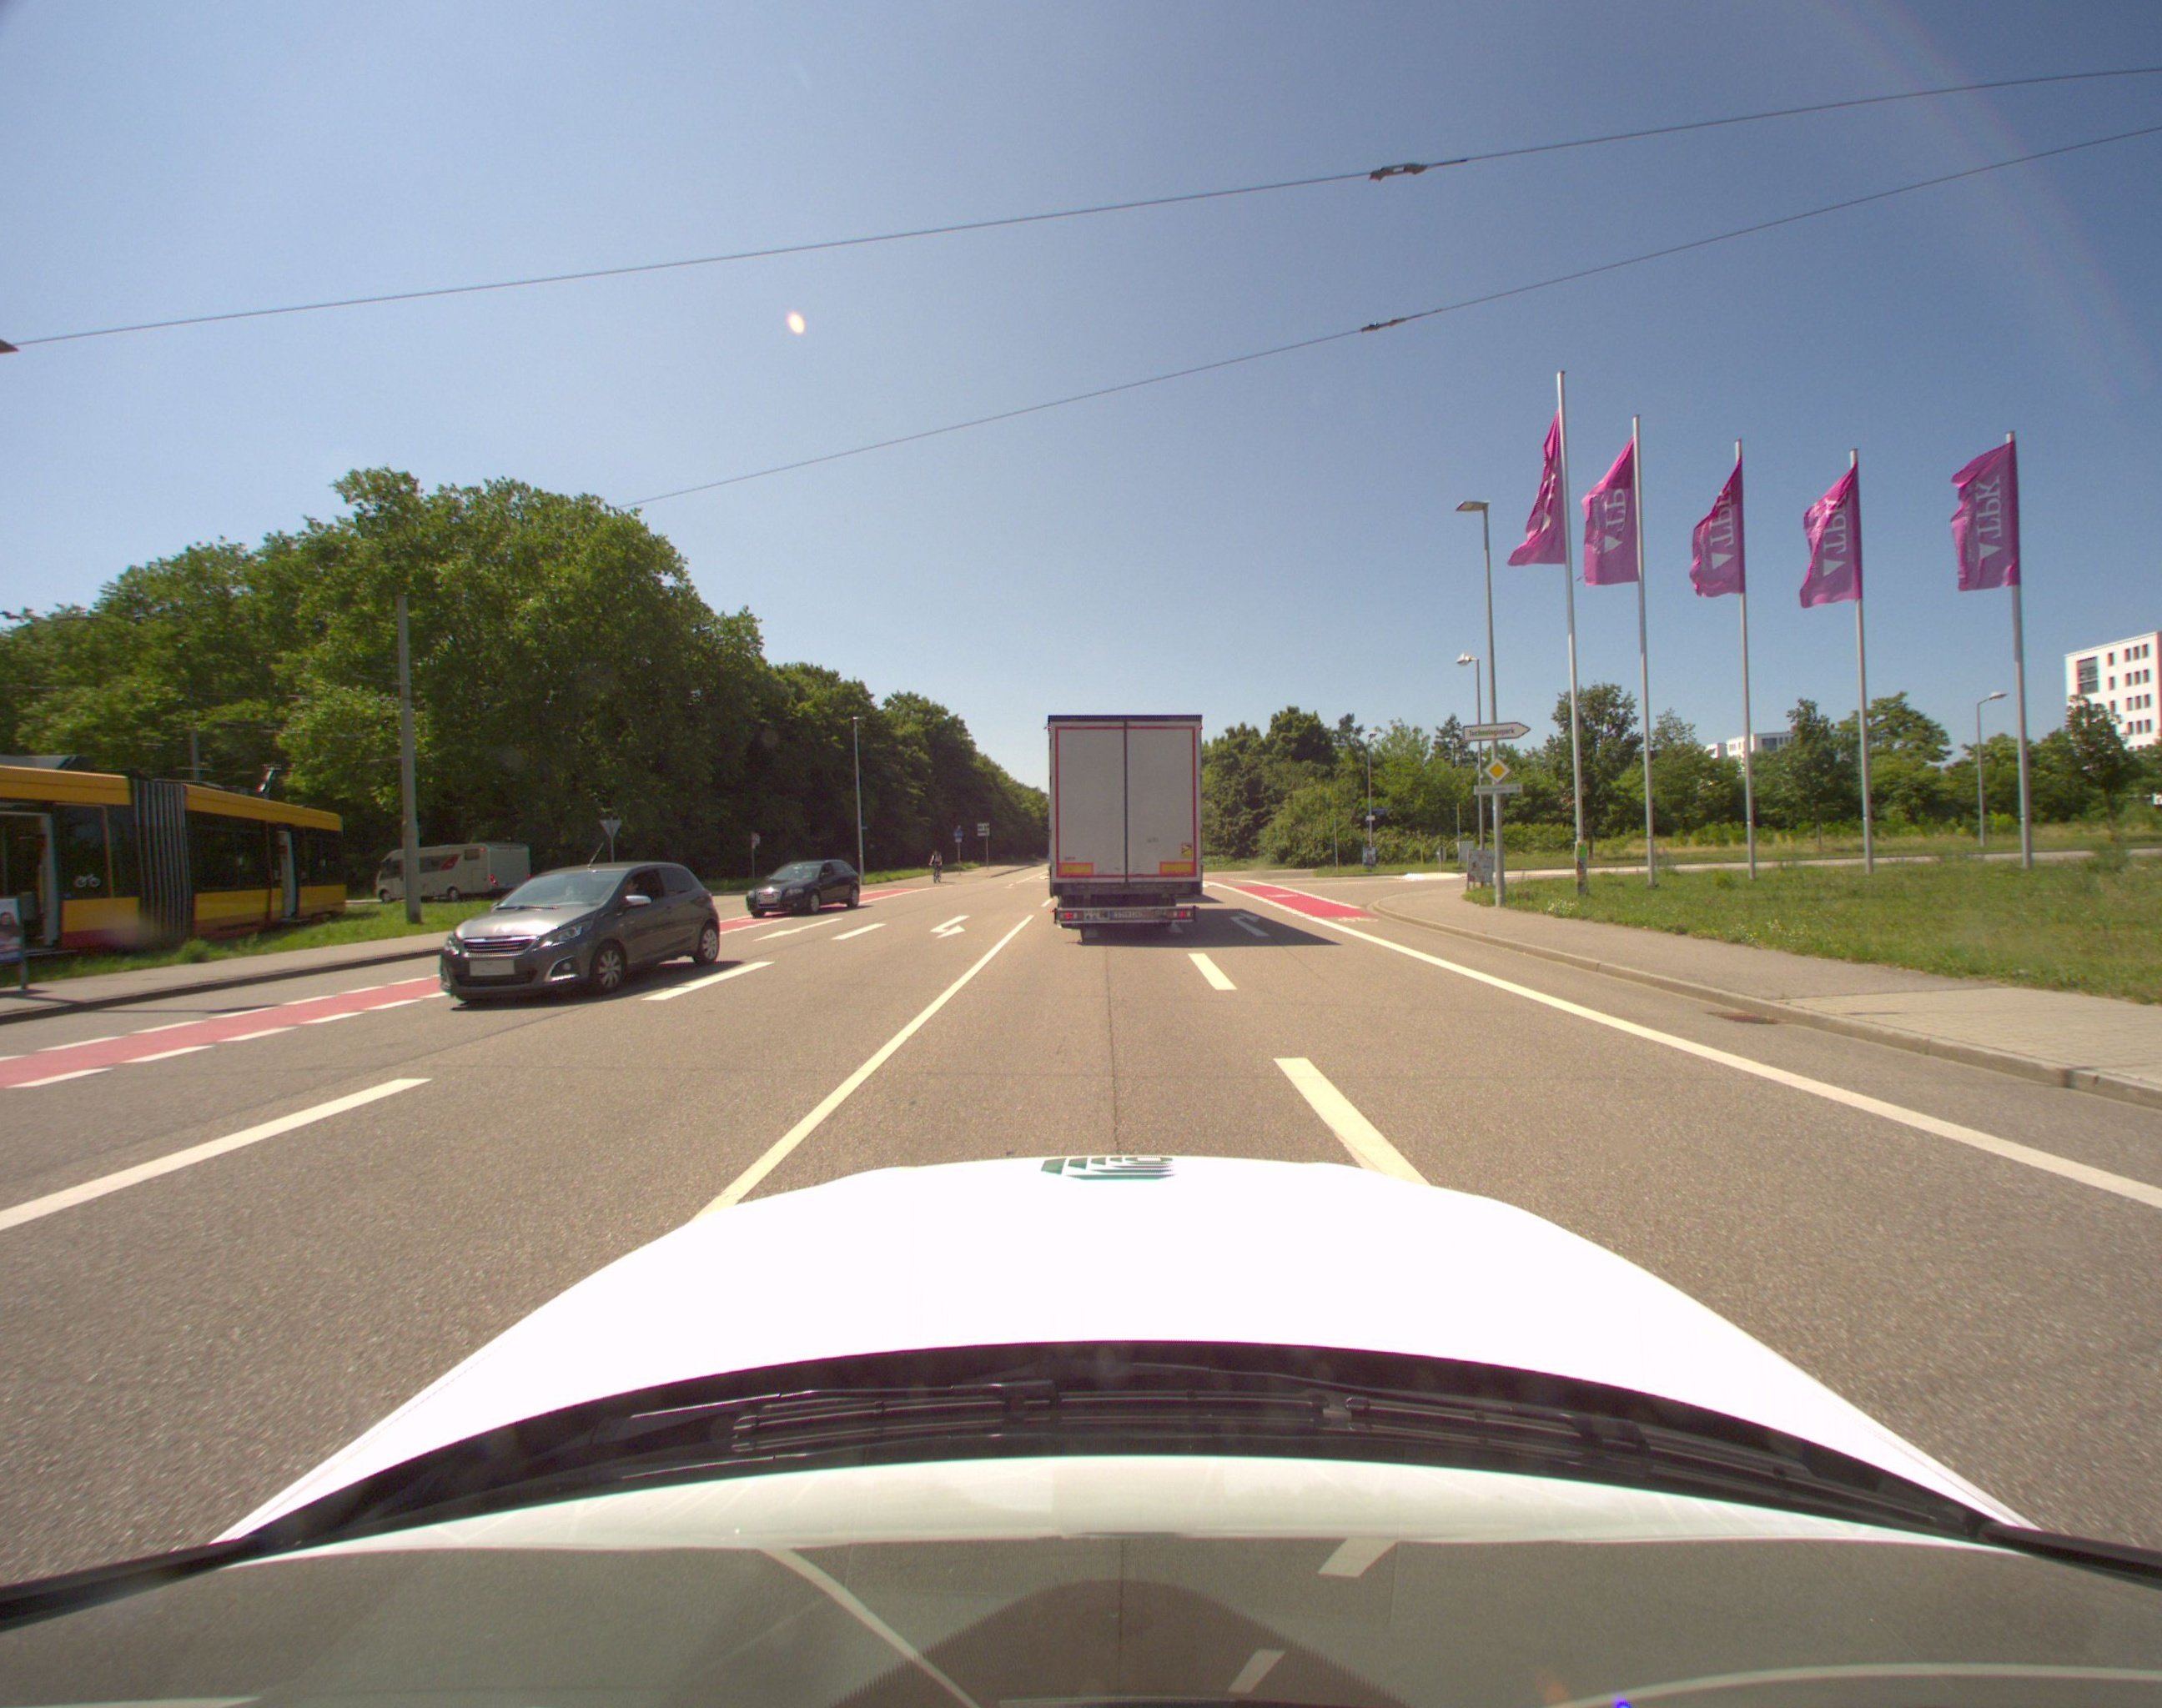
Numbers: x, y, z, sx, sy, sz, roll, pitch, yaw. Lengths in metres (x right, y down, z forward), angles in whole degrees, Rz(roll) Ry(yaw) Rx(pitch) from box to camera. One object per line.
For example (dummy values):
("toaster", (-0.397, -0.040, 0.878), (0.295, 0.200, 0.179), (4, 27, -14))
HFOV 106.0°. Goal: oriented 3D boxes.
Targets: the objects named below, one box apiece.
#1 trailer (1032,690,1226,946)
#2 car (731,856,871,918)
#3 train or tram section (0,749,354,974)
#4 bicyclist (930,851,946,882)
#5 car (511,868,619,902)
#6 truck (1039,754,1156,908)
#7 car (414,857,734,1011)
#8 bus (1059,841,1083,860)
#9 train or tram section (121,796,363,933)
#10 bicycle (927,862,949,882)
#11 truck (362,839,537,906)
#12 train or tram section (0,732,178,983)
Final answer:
("trailer", (0.588, -0.625, 18.005), (3.070, 4.069, 9.800), (-1, 0, -2))
("car", (-7.657, 0.851, 22.804), (1.733, 1.405, 4.453), (-2, 1, 9))
("train or tram section", (-20.501, 0.196, 18.869), (3.036, 3.759, 11.504), (-3, 1, -30))
("bicyclist", (-8.055, 0.679, 45.783), (0.661, 1.706, 0.770), (-1, 1, 6))
("car", (-24.303, 1.451, 38.405), (4.272, 1.417, 1.671), (-2, -1, 10))
("truck", (0.271, -0.654, 25.684), (3.070, 4.069, 7.951), (-1, 0, -3))
("car", (-5.920, 0.826, 10.059), (1.616, 1.456, 3.503), (-3, 0, 2))
("bus", (-1.663, -0.670, 138.375), (2.736, 3.045, 11.956), (-3, 1, 5))
("train or tram section", (-28.667, 0.514, 27.457), (13.865, 3.759, 3.046), (-3, 1, 34))
("bicycle", (-8.043, 1.022, 45.901), (0.665, 1.055, 2.049), (-1, 1, 6))
("truck", (-31.089, 0.925, 40.165), (7.270, 2.910, 2.576), (-3, -1, 11))
("train or tram section", (-17.337, 0.155, 8.021), (3.011, 3.758, 12.973), (-3, 1, -4))
